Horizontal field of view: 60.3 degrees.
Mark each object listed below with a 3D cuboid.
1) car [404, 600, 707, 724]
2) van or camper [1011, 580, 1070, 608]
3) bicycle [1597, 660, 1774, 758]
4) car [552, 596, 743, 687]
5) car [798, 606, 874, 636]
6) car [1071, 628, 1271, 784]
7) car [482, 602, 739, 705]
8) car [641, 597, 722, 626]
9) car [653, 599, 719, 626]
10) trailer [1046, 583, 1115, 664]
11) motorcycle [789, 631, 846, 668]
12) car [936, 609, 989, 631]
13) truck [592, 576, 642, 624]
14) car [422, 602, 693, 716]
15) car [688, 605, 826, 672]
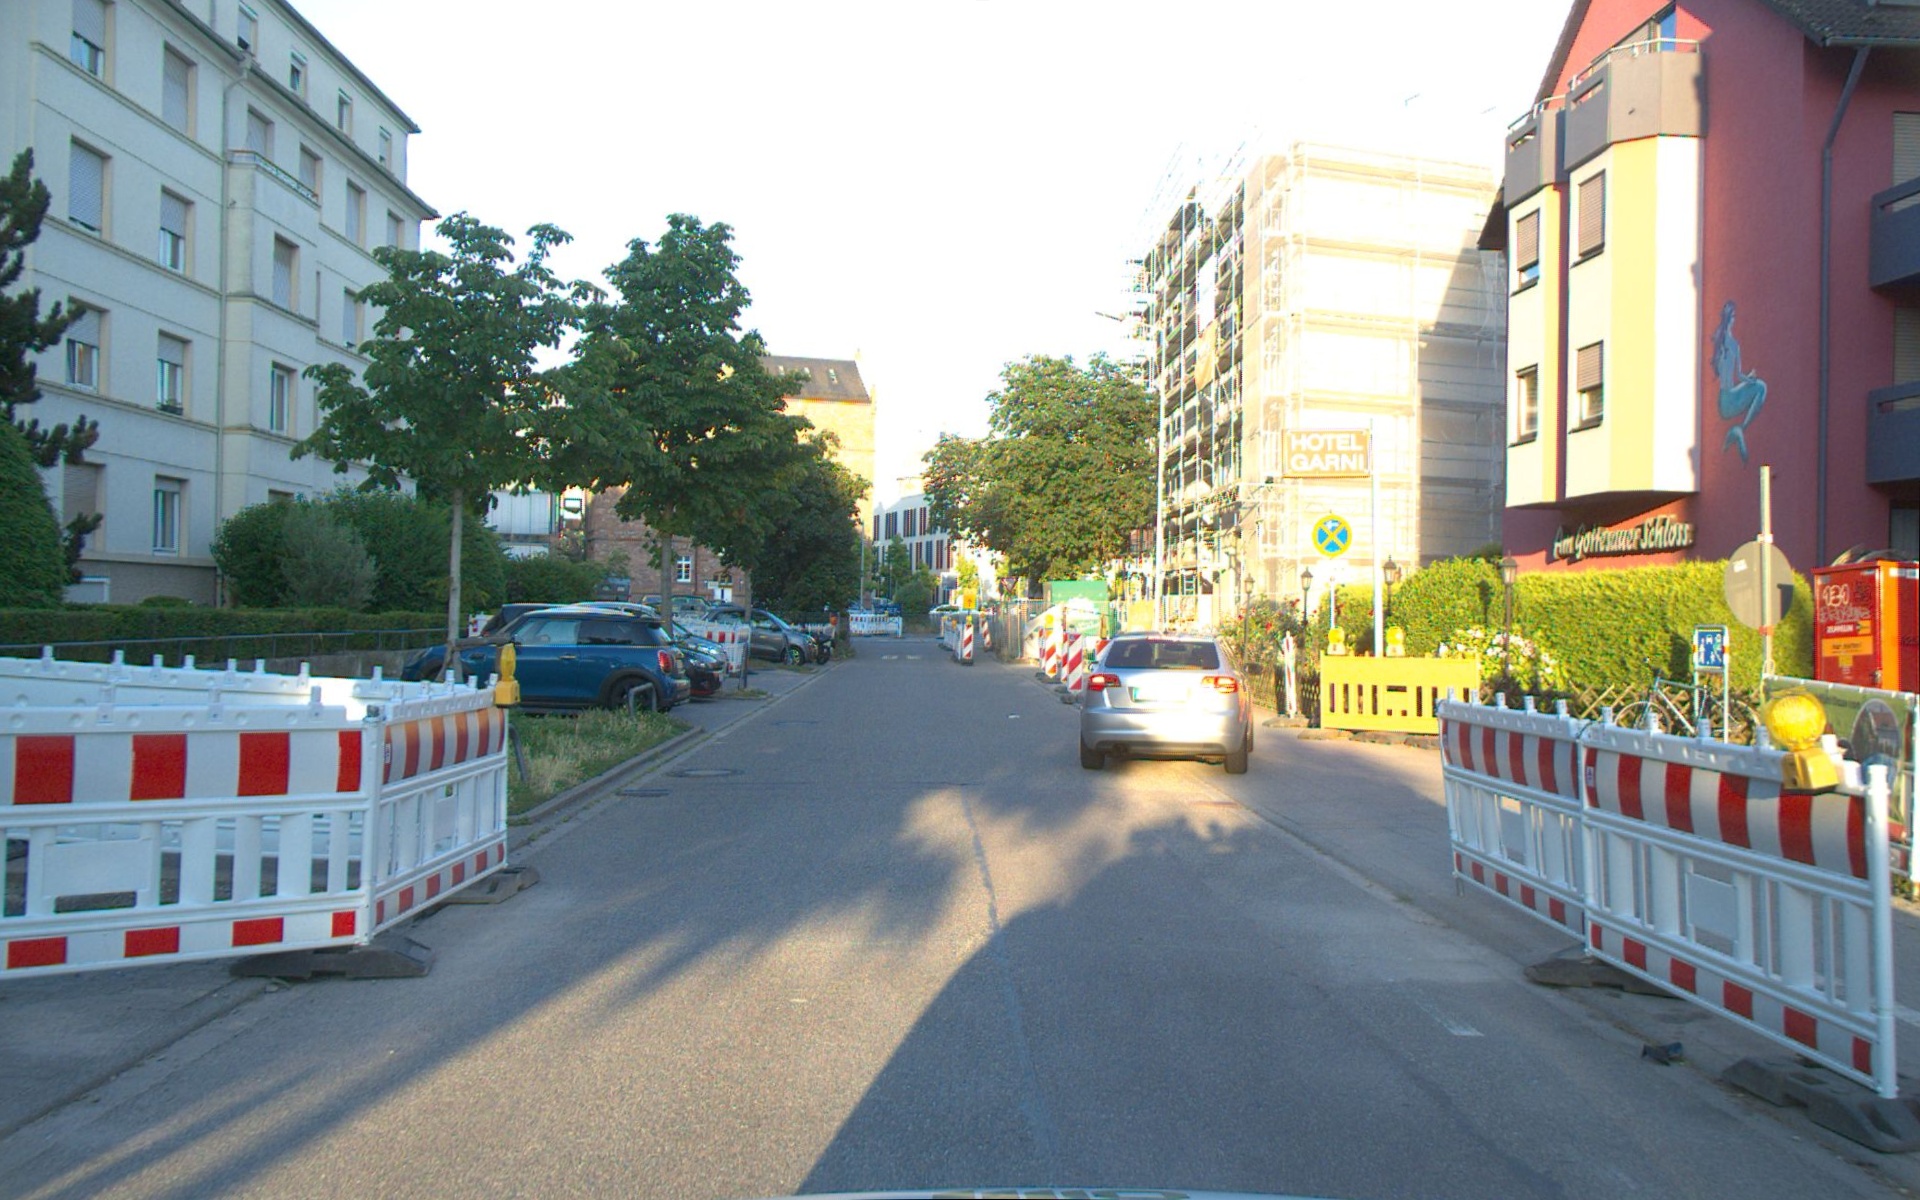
[{"bbox_3d":[-5.402,0.833,22.419,3.602,1.471,1.728,2,-2,0],"label":"car"},{"bbox_3d":[6.977,-0.503,143.999,4.894,2.280,1.675,1,-1,-23],"label":"van or camper"},{"bbox_3d":[8.506,1.277,19.427,1.853,1.088,0.446,1,-1,5],"label":"bicycle"},{"bbox_3d":[-6.034,0.810,32.237,3.406,1.593,1.726,2,-2,-5],"label":"car"},{"bbox_3d":[-7.367,1.264,98.488,4.207,1.738,1.692,1,0,-21],"label":"car"},{"bbox_3d":[2.415,1.053,18.066,1.738,1.421,4.110,1,0,13],"label":"car"},{"bbox_3d":[-5.821,0.898,27.871,3.896,1.515,1.728,2,-2,0],"label":"car"},{"bbox_3d":[-16.483,0.688,97.883,4.512,1.666,1.567,1,0,-18],"label":"car"},{"bbox_3d":[-15.880,0.718,95.773,3.575,1.530,1.629,1,0,-18],"label":"car"},{"bbox_3d":[4.019,0.757,55.771,1.953,2.584,4.185,1,0,-1],"label":"trailer"},{"bbox_3d":[-4.247,1.499,49.471,0.527,1.038,2.208,4,-1,27],"label":"motorcycle"},{"bbox_3d":[0.165,1.518,126.104,3.689,1.631,1.675,1,-1,-23],"label":"car"},{"bbox_3d":[-19.939,0.002,95.920,2.298,2.662,4.947,1,0,-18],"label":"truck"},{"bbox_3d":[-6.036,0.885,25.085,3.602,1.510,1.728,2,-2,0],"label":"car"},{"bbox_3d":[-5.594,1.055,45.901,3.551,1.584,1.692,4,-1,-2],"label":"car"}]
